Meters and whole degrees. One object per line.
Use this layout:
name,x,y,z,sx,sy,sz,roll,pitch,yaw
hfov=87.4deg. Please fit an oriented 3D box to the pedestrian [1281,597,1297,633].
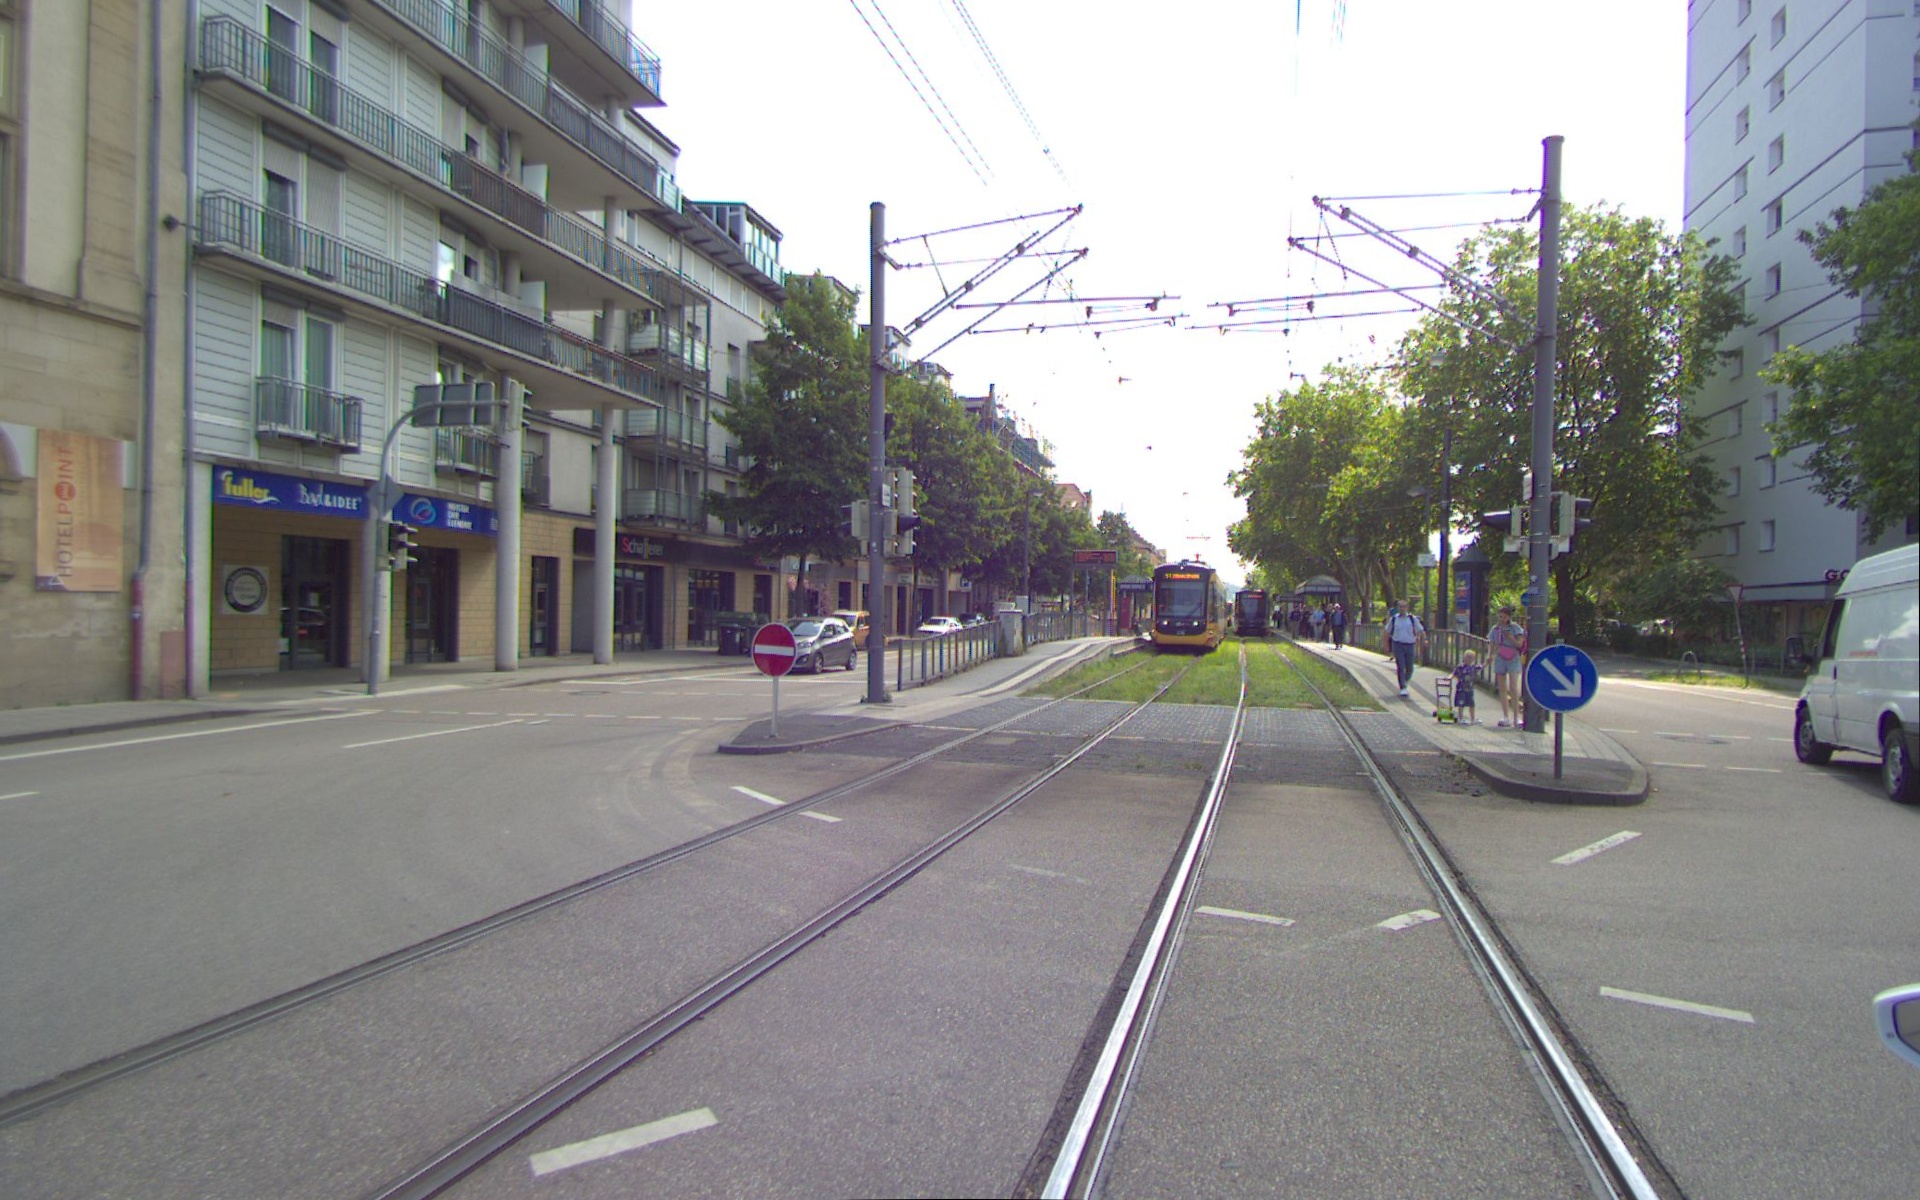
pedestrian,16.952,0.773,51.737,0.700,1.824,1.133,1,-1,15

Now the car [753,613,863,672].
car,-3.987,1.091,26.930,1.605,1.457,3.645,0,-1,15

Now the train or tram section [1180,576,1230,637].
train or tram section,16.305,0.529,66.319,2.677,3.631,13.022,1,-1,16

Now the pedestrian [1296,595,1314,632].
pedestrian,17.829,0.711,51.973,0.797,1.897,1.031,1,-1,15

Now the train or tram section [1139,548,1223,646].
train or tram section,9.859,0.009,43.752,2.760,3.631,13.022,1,-1,16

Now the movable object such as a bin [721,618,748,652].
movable object such as a bin,-7.671,1.182,34.168,0.637,1.132,0.789,0,-1,11

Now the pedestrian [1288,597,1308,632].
pedestrian,18.052,0.787,53.660,0.871,1.824,1.495,1,-1,15

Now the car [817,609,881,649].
car,-4.715,1.229,43.164,1.625,1.600,3.479,0,-1,14

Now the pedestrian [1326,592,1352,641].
pedestrian,14.289,0.628,37.908,0.843,1.798,0.877,1,-1,16

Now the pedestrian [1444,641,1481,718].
pedestrian,7.227,1.132,14.446,0.413,1.077,0.435,0,-1,36

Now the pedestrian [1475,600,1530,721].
pedestrian,7.808,0.846,14.460,0.615,1.688,0.674,0,-1,35

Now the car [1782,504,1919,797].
car,9.564,0.435,9.383,2.016,2.364,4.707,0,-1,28

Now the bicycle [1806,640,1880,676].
bicycle,27.405,1.793,31.193,1.704,1.022,0.531,0,-1,44

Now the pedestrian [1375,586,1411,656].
pedestrian,12.125,0.586,28.161,0.813,1.924,0.847,1,-1,16

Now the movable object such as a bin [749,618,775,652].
movable object such as a bin,-6.726,1.189,34.163,0.581,1.132,0.789,0,-1,11

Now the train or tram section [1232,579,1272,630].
train or tram section,22.796,0.473,78.664,2.677,3.631,13.022,1,-1,16

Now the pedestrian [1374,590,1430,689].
pedestrian,8.304,0.725,18.911,0.834,1.804,1.045,1,-1,16

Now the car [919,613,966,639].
car,-0.949,1.461,56.250,1.690,1.389,3.479,0,-1,16

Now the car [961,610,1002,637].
car,1.356,1.474,62.722,1.690,1.630,3.693,0,-1,16

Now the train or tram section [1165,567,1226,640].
train or tram section,13.067,0.264,55.062,2.748,3.631,10.408,1,-1,16

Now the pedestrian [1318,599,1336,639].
pedestrian,17.184,0.895,47.042,0.689,1.874,0.789,1,-1,15

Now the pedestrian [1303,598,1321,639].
pedestrian,16.563,0.877,47.264,0.689,1.874,0.908,1,-1,15

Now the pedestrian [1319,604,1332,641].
pedestrian,18.768,1.149,51.596,0.463,1.925,0.536,0,-1,-8
